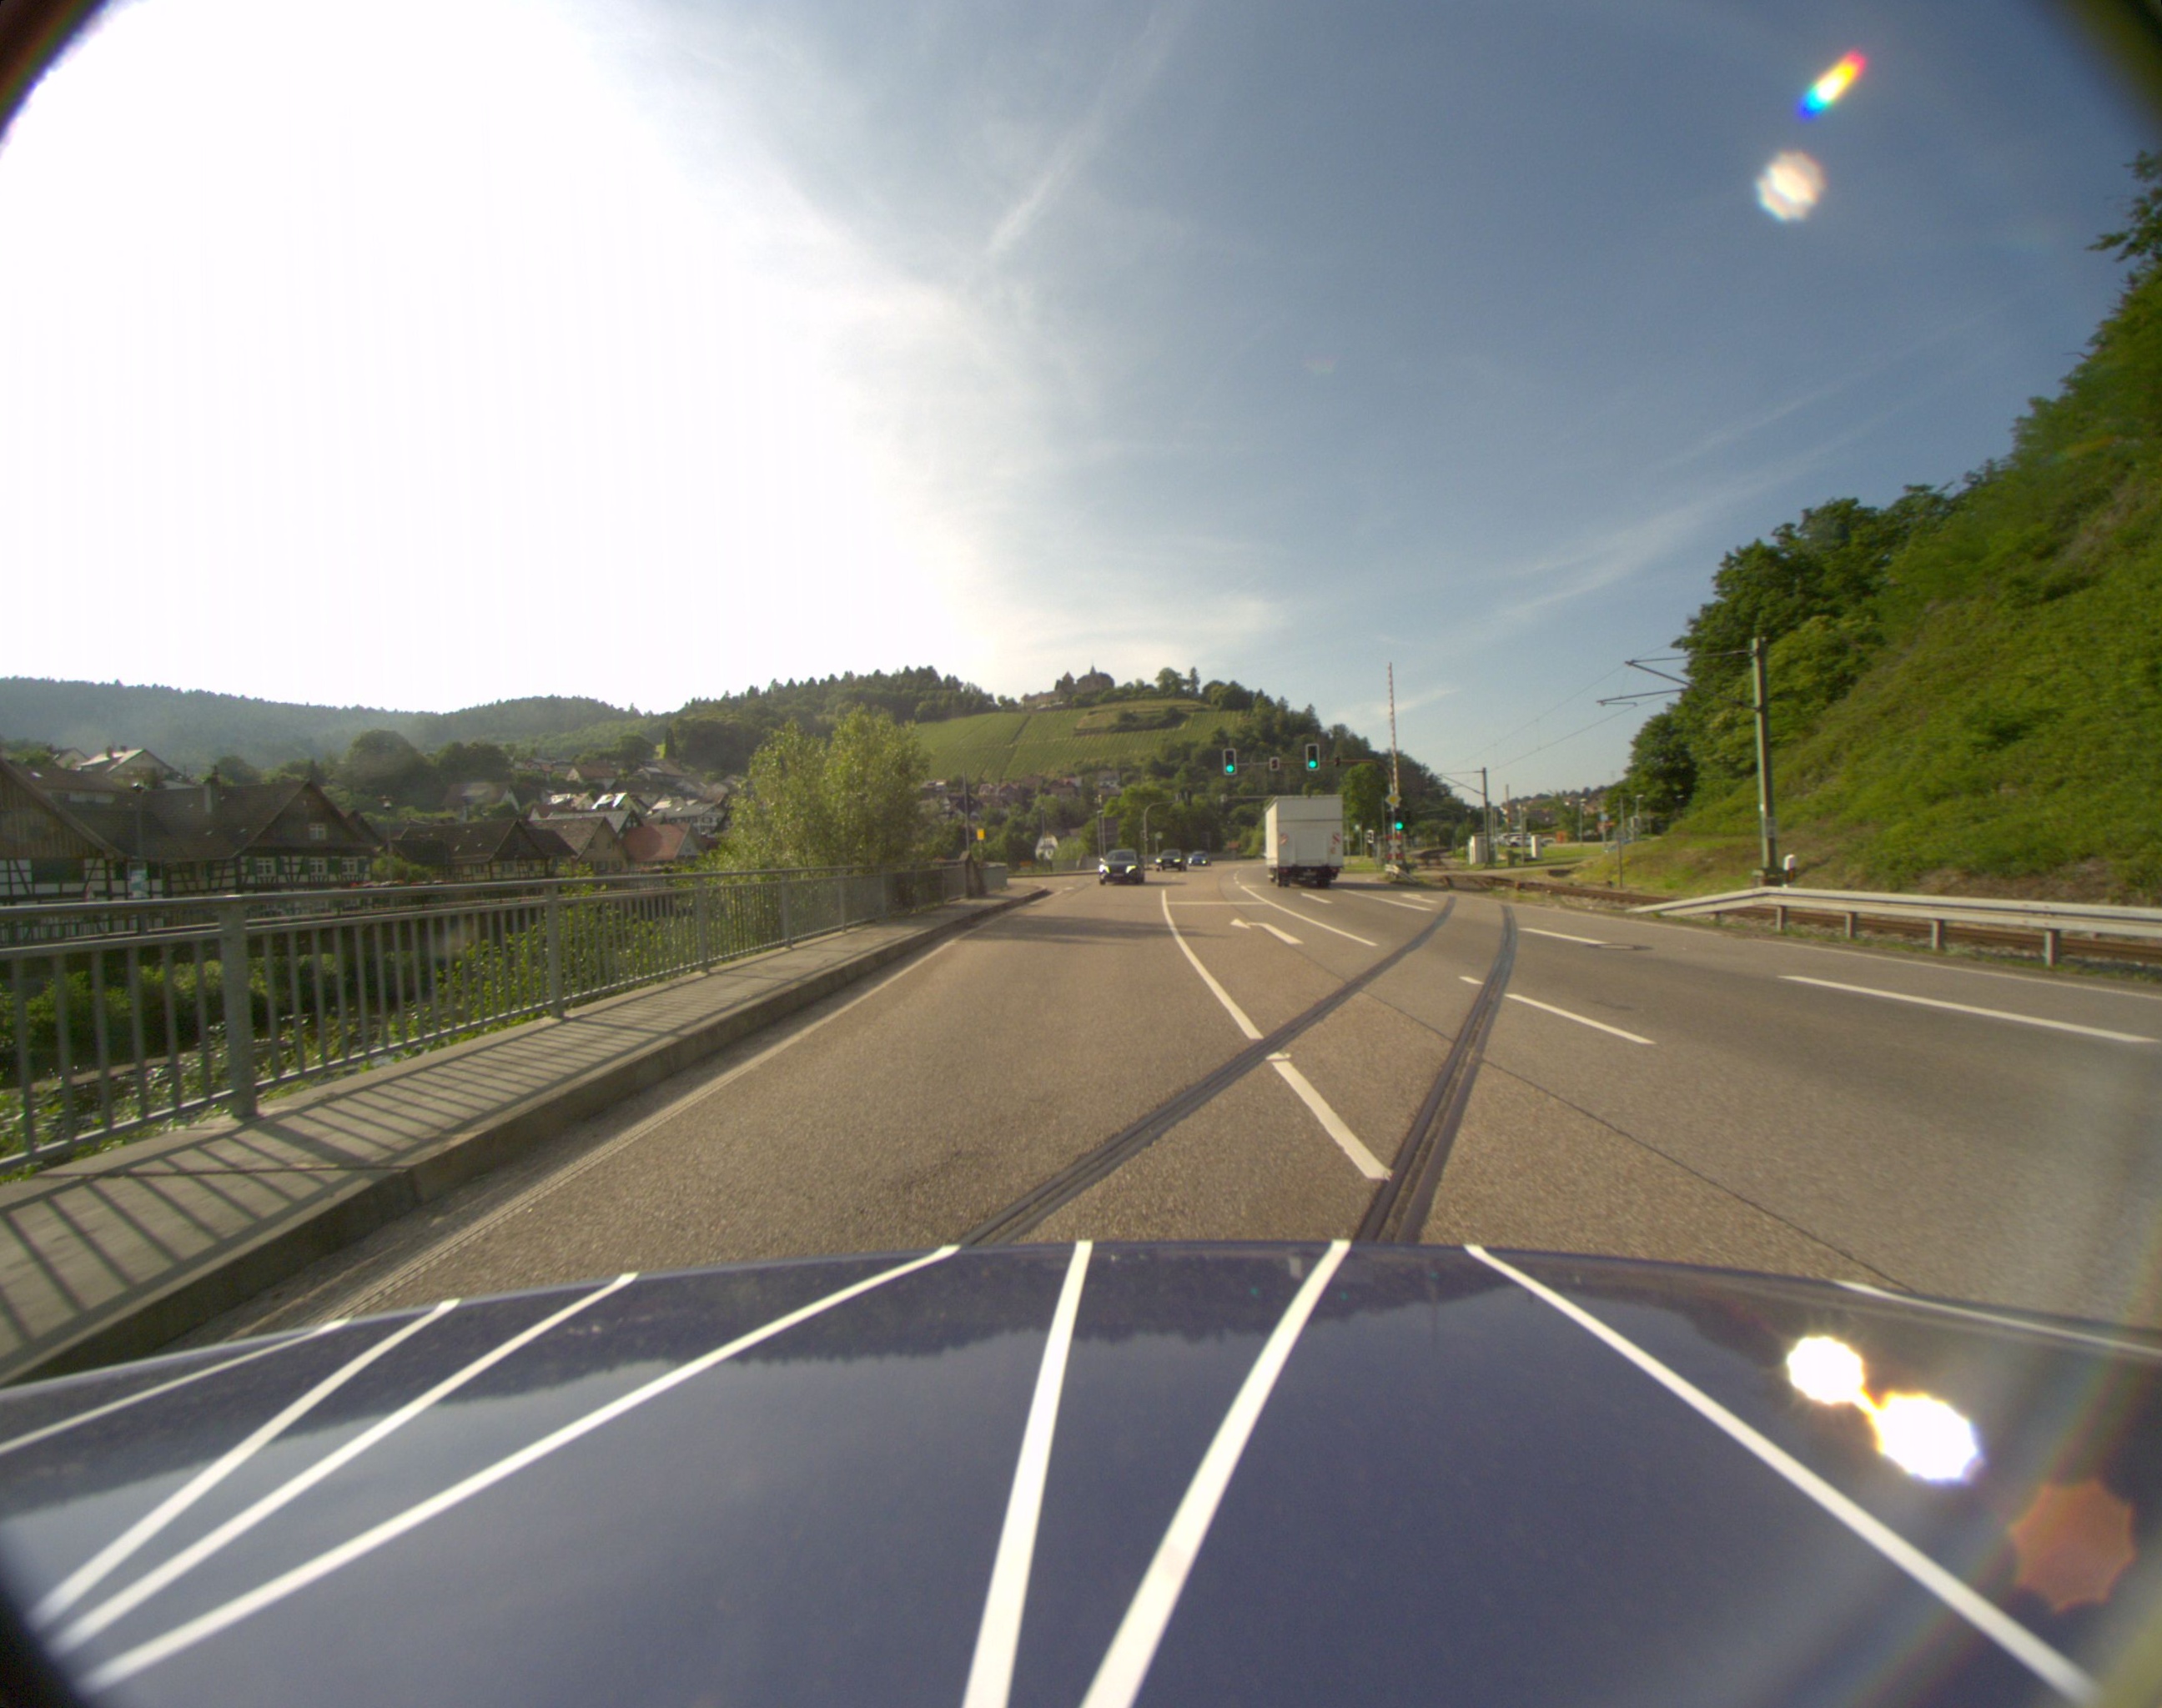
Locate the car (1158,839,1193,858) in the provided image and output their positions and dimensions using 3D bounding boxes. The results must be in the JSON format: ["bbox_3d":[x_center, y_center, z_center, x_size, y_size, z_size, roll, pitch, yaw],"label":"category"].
[{"bbox_3d":[7.245,-0.403,57.765,1.996,1.384,4.005,0,0,17],"label":"car"}]

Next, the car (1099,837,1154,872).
[{"bbox_3d":[2.223,-0.004,36.351,1.861,1.576,4.004,-1,1,15],"label":"car"}]

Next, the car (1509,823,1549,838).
[{"bbox_3d":[52.538,-2.748,89.169,3.989,1.740,1.643,0,1,27],"label":"car"}]

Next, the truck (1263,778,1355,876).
[{"bbox_3d":[9.976,-1.114,34.162,2.902,3.777,8.899,0,1,10],"label":"truck"}]

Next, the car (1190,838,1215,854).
[{"bbox_3d":[11.985,-0.791,74.827,1.865,1.483,4.005,0,1,17],"label":"car"}]

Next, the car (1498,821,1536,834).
[{"bbox_3d":[60.212,-3.637,104.992,4.441,1.793,2.003,0,1,28],"label":"car"}]
